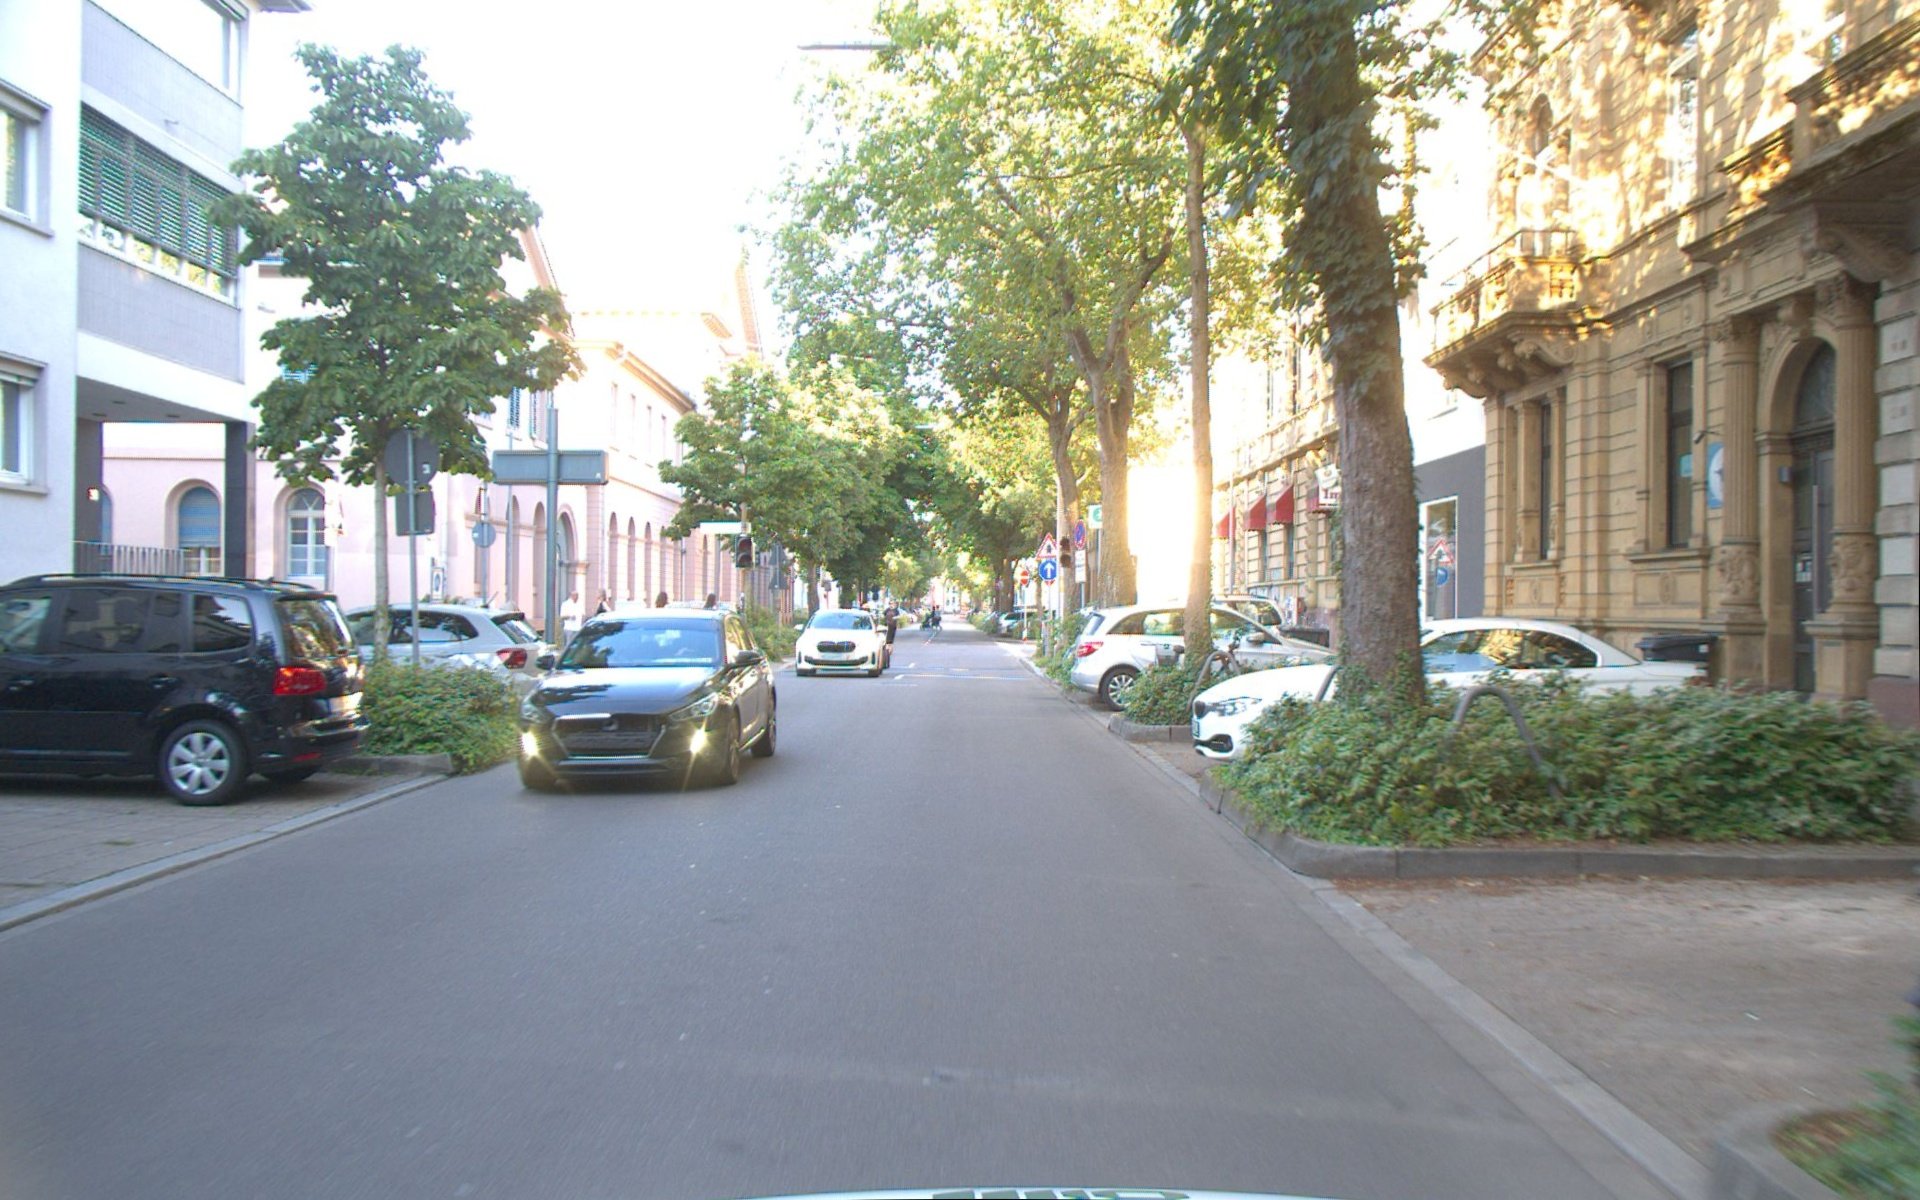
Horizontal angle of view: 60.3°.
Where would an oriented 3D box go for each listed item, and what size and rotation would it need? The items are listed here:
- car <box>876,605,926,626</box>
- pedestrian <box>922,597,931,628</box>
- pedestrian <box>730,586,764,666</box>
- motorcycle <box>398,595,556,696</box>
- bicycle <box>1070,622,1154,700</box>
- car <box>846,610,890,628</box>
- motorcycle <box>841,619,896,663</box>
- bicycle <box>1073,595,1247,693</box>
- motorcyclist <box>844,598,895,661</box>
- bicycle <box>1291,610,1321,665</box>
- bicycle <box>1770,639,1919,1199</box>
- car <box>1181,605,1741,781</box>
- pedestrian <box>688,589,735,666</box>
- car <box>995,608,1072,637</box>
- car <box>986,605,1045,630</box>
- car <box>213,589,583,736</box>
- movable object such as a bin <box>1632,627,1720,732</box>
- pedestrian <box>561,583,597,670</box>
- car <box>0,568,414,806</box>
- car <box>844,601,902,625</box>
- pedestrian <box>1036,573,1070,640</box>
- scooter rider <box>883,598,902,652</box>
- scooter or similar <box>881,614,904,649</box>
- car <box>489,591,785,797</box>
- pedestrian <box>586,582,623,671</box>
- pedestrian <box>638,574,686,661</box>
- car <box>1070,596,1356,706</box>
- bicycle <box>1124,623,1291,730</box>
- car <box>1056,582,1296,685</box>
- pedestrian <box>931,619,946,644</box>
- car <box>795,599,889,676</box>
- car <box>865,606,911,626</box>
[{"bbox_3d":[-6.086,1.586,170.636,4.959,2.119,2.263,0,0,1],"label":"car"},{"bbox_3d":[-2.267,0.833,112.080,0.492,2.049,0.621,1,-1,1],"label":"pedestrian"},{"bbox_3d":[-5.162,0.633,40.048,0.755,1.921,0.790,0,0,-12],"label":"pedestrian"},{"bbox_3d":[-7.165,0.666,24.543,2.104,1.444,0.968,0,-1,21],"label":"motorcycle"},{"bbox_3d":[2.480,0.989,26.988,1.310,1.225,0.488,-1,-1,-1],"label":"bicycle"},{"bbox_3d":[-7.758,1.589,139.789,3.652,1.534,1.871,0,0,-4],"label":"car"},{"bbox_3d":[-2.354,1.067,42.771,1.285,1.109,2.396,0,-2,0],"label":"motorcycle"},{"bbox_3d":[3.614,0.788,29.966,3.052,1.692,0.658,1,-1,-5],"label":"bicycle"},{"bbox_3d":[-2.343,0.757,42.848,1.254,1.620,1.077,0,-1,0],"label":"motorcyclist"},{"bbox_3d":[7.860,0.844,37.637,0.377,1.232,1.726,0,-1,2],"label":"bicycle"},{"bbox_3d":[3.057,0.824,3.932,2.005,1.384,0.508,2,0,-2],"label":"bicycle"},{"bbox_3d":[4.335,0.782,14.894,4.488,1.462,1.925,0,0,1],"label":"car"},{"bbox_3d":[-5.883,0.648,39.108,0.833,1.769,0.769,2,-1,-30],"label":"pedestrian"},{"bbox_3d":[4.036,1.237,91.359,4.107,1.506,1.852,-1,0,0],"label":"car"},{"bbox_3d":[3.782,1.186,112.417,3.933,1.651,1.780,0,0,-2],"label":"car"},{"bbox_3d":[-6.460,0.699,19.308,3.665,1.484,1.735,2,0,-1],"label":"car"},{"bbox_3d":[7.525,0.826,17.405,0.644,1.083,0.615,-1,-1,0],"label":"movable object such as a bin"},{"bbox_3d":[-8.270,0.569,35.938,0.542,1.883,0.612,0,0,14],"label":"pedestrian"},{"bbox_3d":[-6.631,0.610,12.957,4.008,1.660,1.936,1,0,1],"label":"car"},{"bbox_3d":[-7.615,1.131,145.188,4.961,2.119,2.263,0,0,-1],"label":"car"},{"bbox_3d":[3.099,0.222,54.930,1.022,2.184,1.063,2,-1,0],"label":"pedestrian"},{"bbox_3d":[-2.281,0.850,56.119,0.484,1.823,0.875,0,-1,10],"label":"scooter rider"},{"bbox_3d":[-2.286,1.059,56.090,0.491,1.165,1.251,0,-1,10],"label":"scooter or similar"},{"bbox_3d":[-2.712,0.731,14.880,1.838,1.576,4.274,0,0,0],"label":"car"},{"bbox_3d":[-7.673,0.557,35.719,0.542,1.882,0.612,1,1,14],"label":"pedestrian"},{"bbox_3d":[-6.466,0.366,35.902,0.774,1.822,0.771,3,0,3],"label":"pedestrian"},{"bbox_3d":[3.756,0.749,25.169,4.136,1.587,1.971,0,0,3],"label":"car"},{"bbox_3d":[3.057,0.926,20.431,1.984,1.225,0.487,-2,-1,-13],"label":"bicycle"},{"bbox_3d":[4.213,0.641,32.784,4.449,1.948,1.949,0,0,-3],"label":"car"},{"bbox_3d":[-1.463,2.139,112.198,0.856,1.679,0.655,1,-1,7],"label":"pedestrian"},{"bbox_3d":[-2.539,0.781,36.375,1.839,1.576,4.274,0,0,-1],"label":"car"},{"bbox_3d":[-7.876,1.766,181.502,4.960,2.119,2.263,0,0,1],"label":"car"}]
